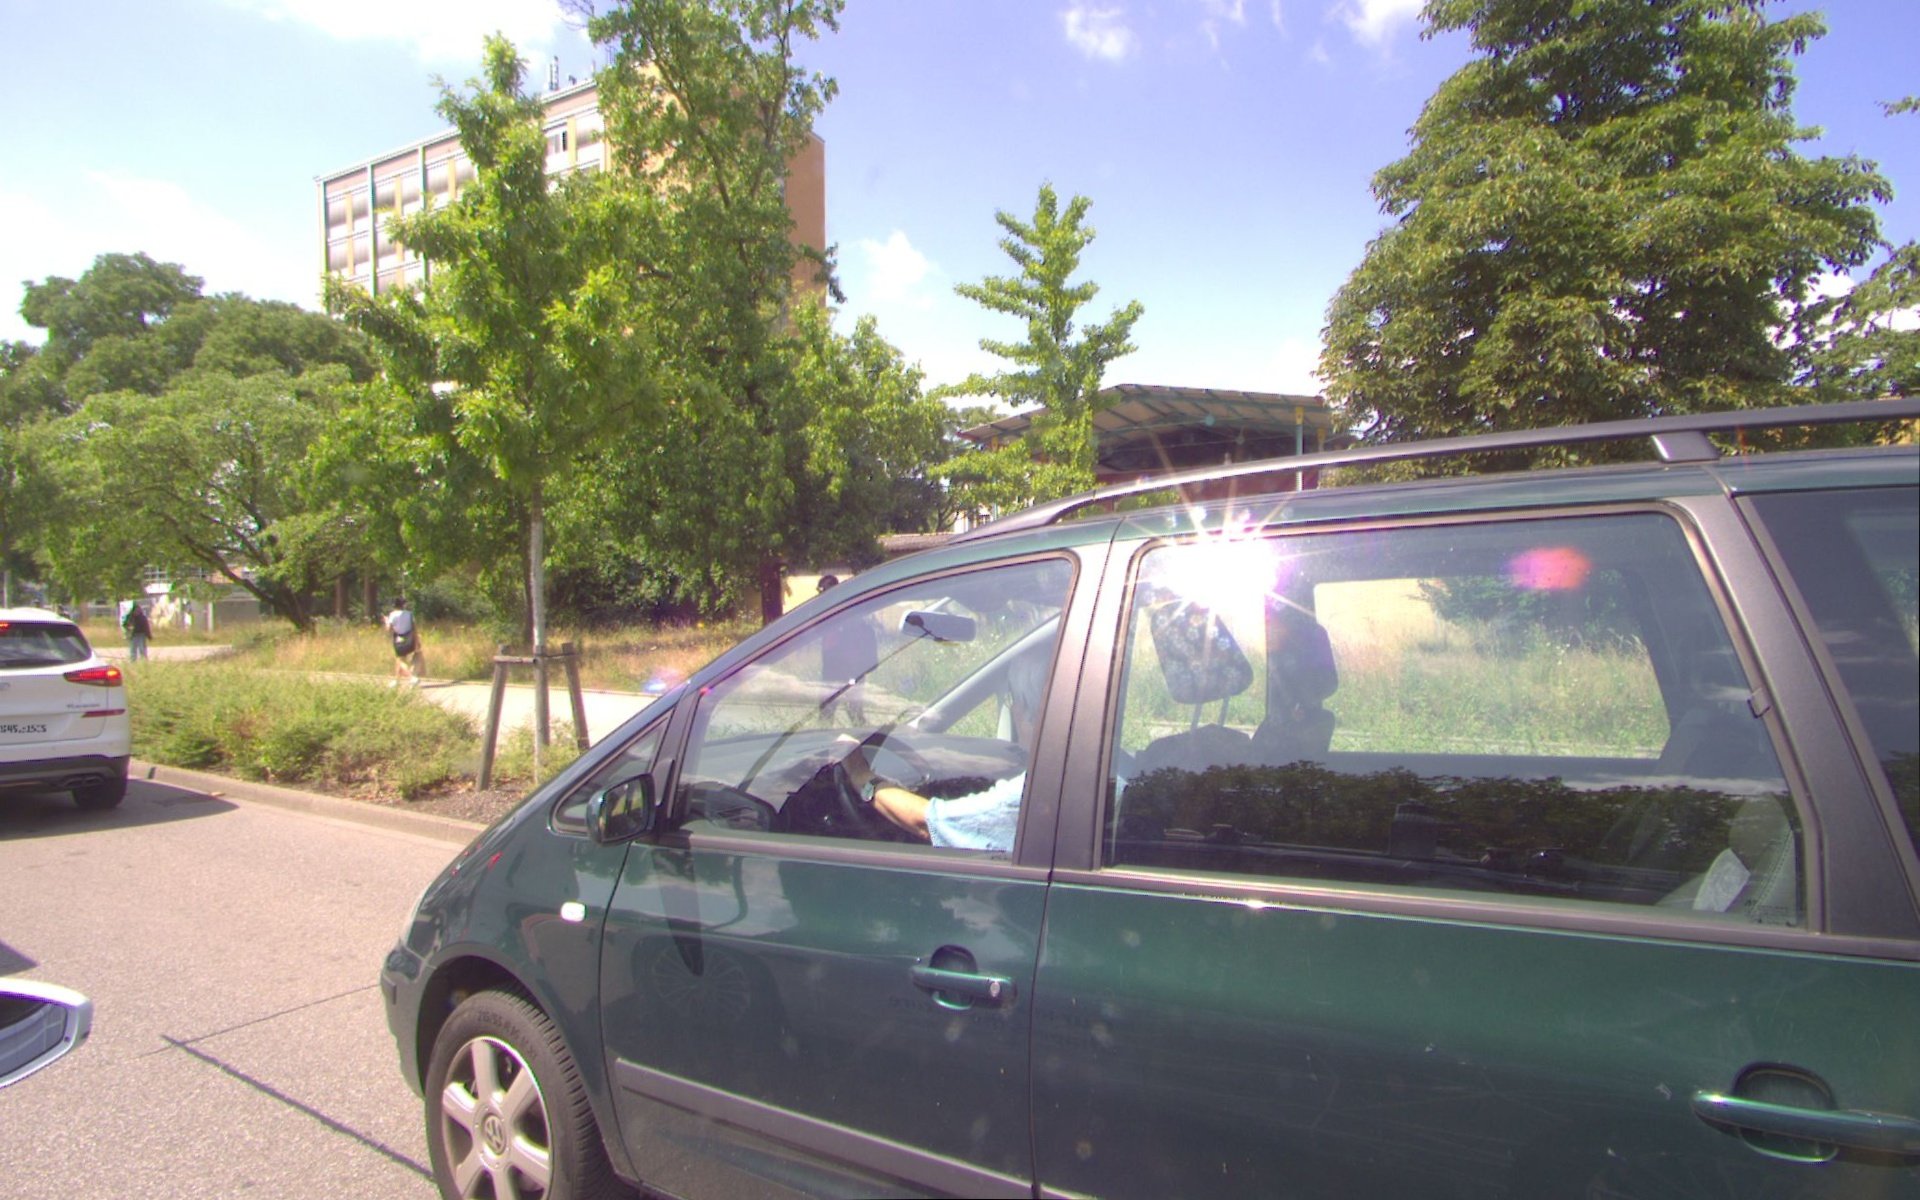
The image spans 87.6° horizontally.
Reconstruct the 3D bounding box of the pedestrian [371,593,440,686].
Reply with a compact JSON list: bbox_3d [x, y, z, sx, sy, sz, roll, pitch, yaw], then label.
[{"bbox_3d":[-9.738,0.675,17.585,0.804,1.578,0.757,0,1,32],"label":"pedestrian"}]

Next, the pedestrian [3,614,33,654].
[{"bbox_3d":[-45.530,1.636,48.408,0.802,1.874,0.759,0,1,21],"label":"pedestrian"}]

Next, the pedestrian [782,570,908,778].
[{"bbox_3d":[-1.007,0.610,8.764,0.807,1.706,0.754,0,1,44],"label":"pedestrian"}]

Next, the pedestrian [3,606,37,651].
[{"bbox_3d":[-40.002,1.198,42.614,0.802,1.874,0.759,0,1,22],"label":"pedestrian"}]

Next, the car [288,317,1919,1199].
[{"bbox_3d":[0.542,0.631,2.269,4.329,1.737,1.799,0,-2,32],"label":"car"}]

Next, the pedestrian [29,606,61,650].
[{"bbox_3d":[-39.792,1.194,43.530,0.803,1.874,0.759,0,1,24],"label":"pedestrian"}]

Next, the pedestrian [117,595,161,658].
[{"bbox_3d":[-22.329,0.702,27.235,0.805,1.677,0.756,0,1,36],"label":"pedestrian"}]

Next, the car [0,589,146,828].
[{"bbox_3d":[-8.493,0.784,8.176,3.919,1.701,1.810,0,0,34],"label":"car"}]

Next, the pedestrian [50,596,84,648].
[{"bbox_3d":[-31.954,0.777,35.828,0.806,1.813,0.756,0,0,37],"label":"pedestrian"}]
